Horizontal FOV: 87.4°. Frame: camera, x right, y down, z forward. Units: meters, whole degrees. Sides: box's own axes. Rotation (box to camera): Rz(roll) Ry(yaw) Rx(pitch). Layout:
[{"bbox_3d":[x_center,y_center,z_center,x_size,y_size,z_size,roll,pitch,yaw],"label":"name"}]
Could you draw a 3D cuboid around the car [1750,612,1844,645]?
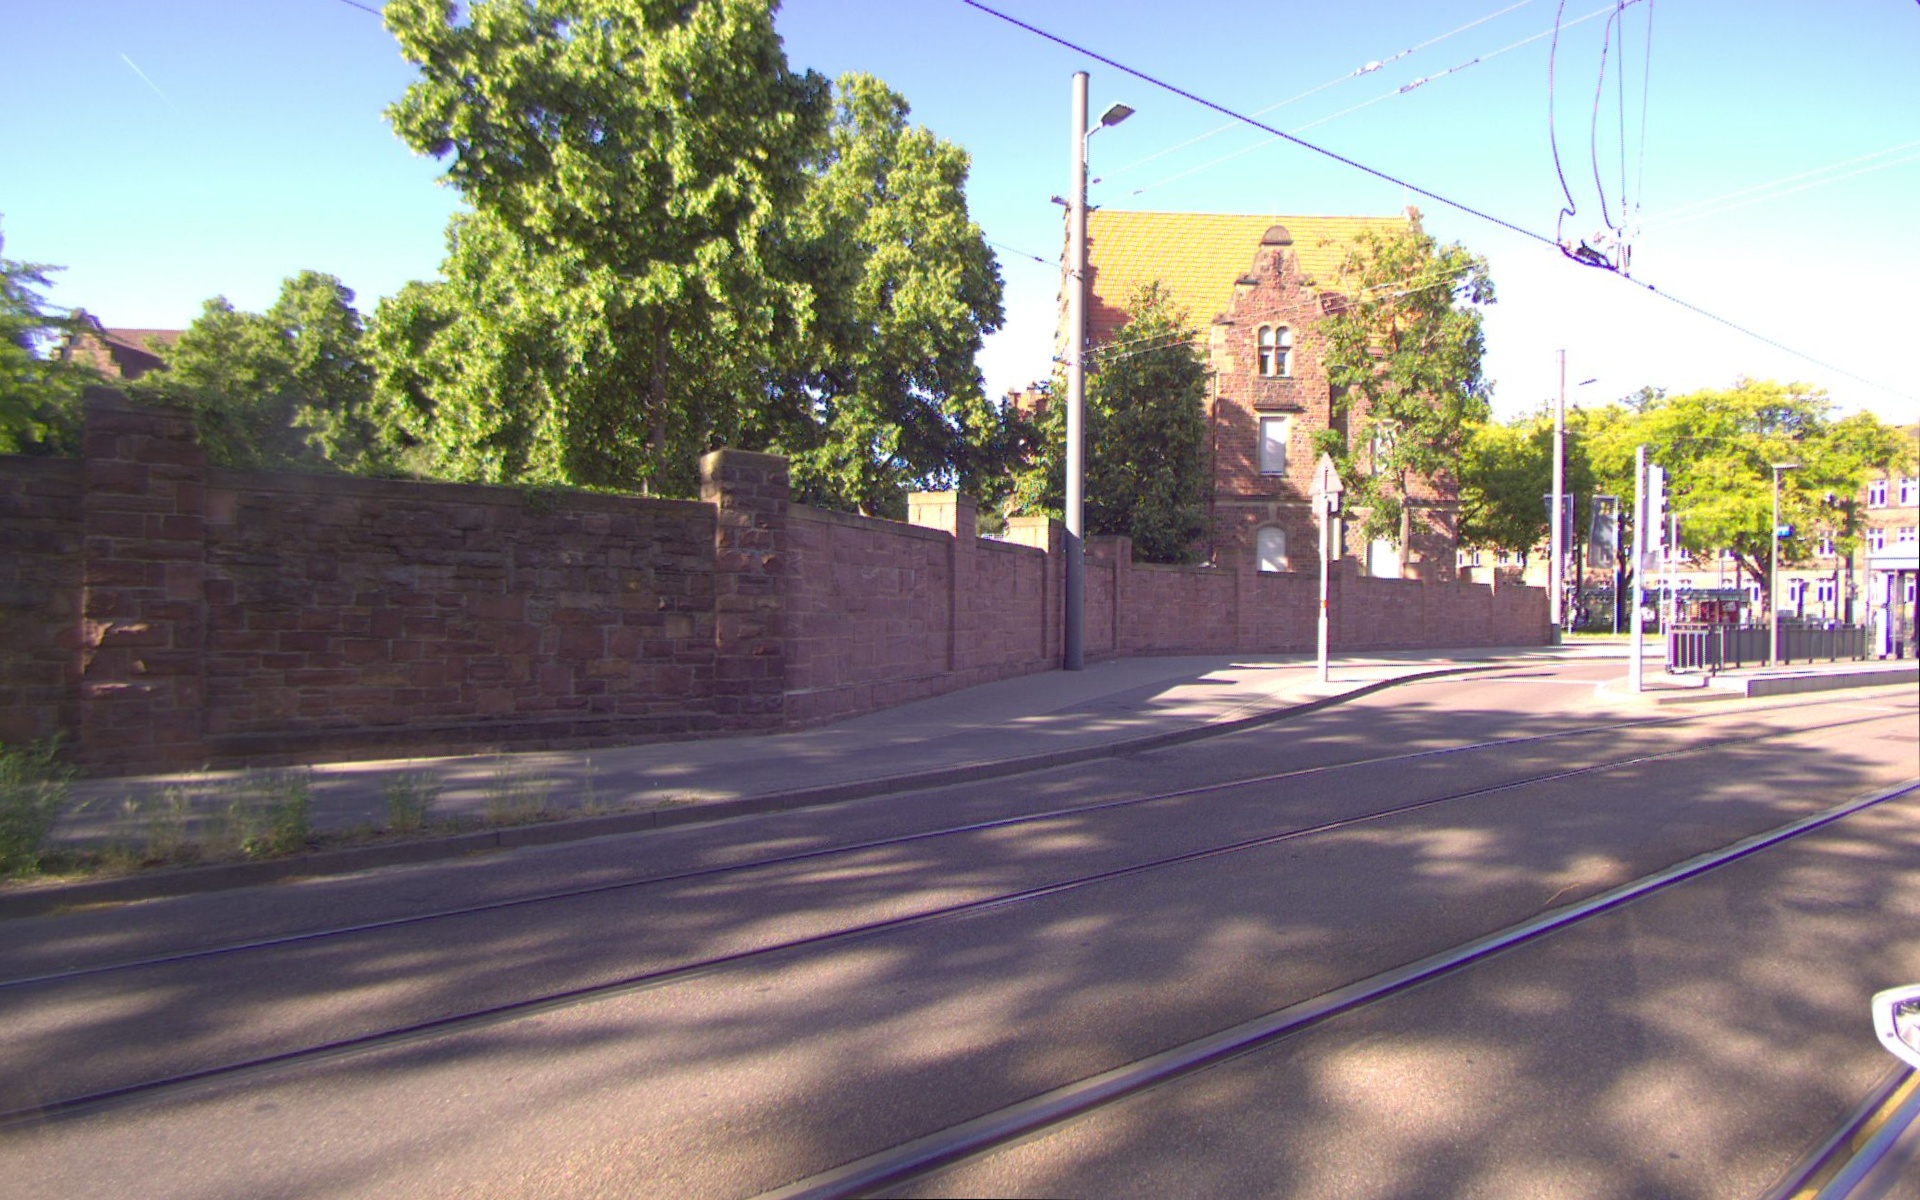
[{"bbox_3d":[50.373,1.694,60.503,1.980,1.813,3.961,1,0,-35],"label":"car"}]
